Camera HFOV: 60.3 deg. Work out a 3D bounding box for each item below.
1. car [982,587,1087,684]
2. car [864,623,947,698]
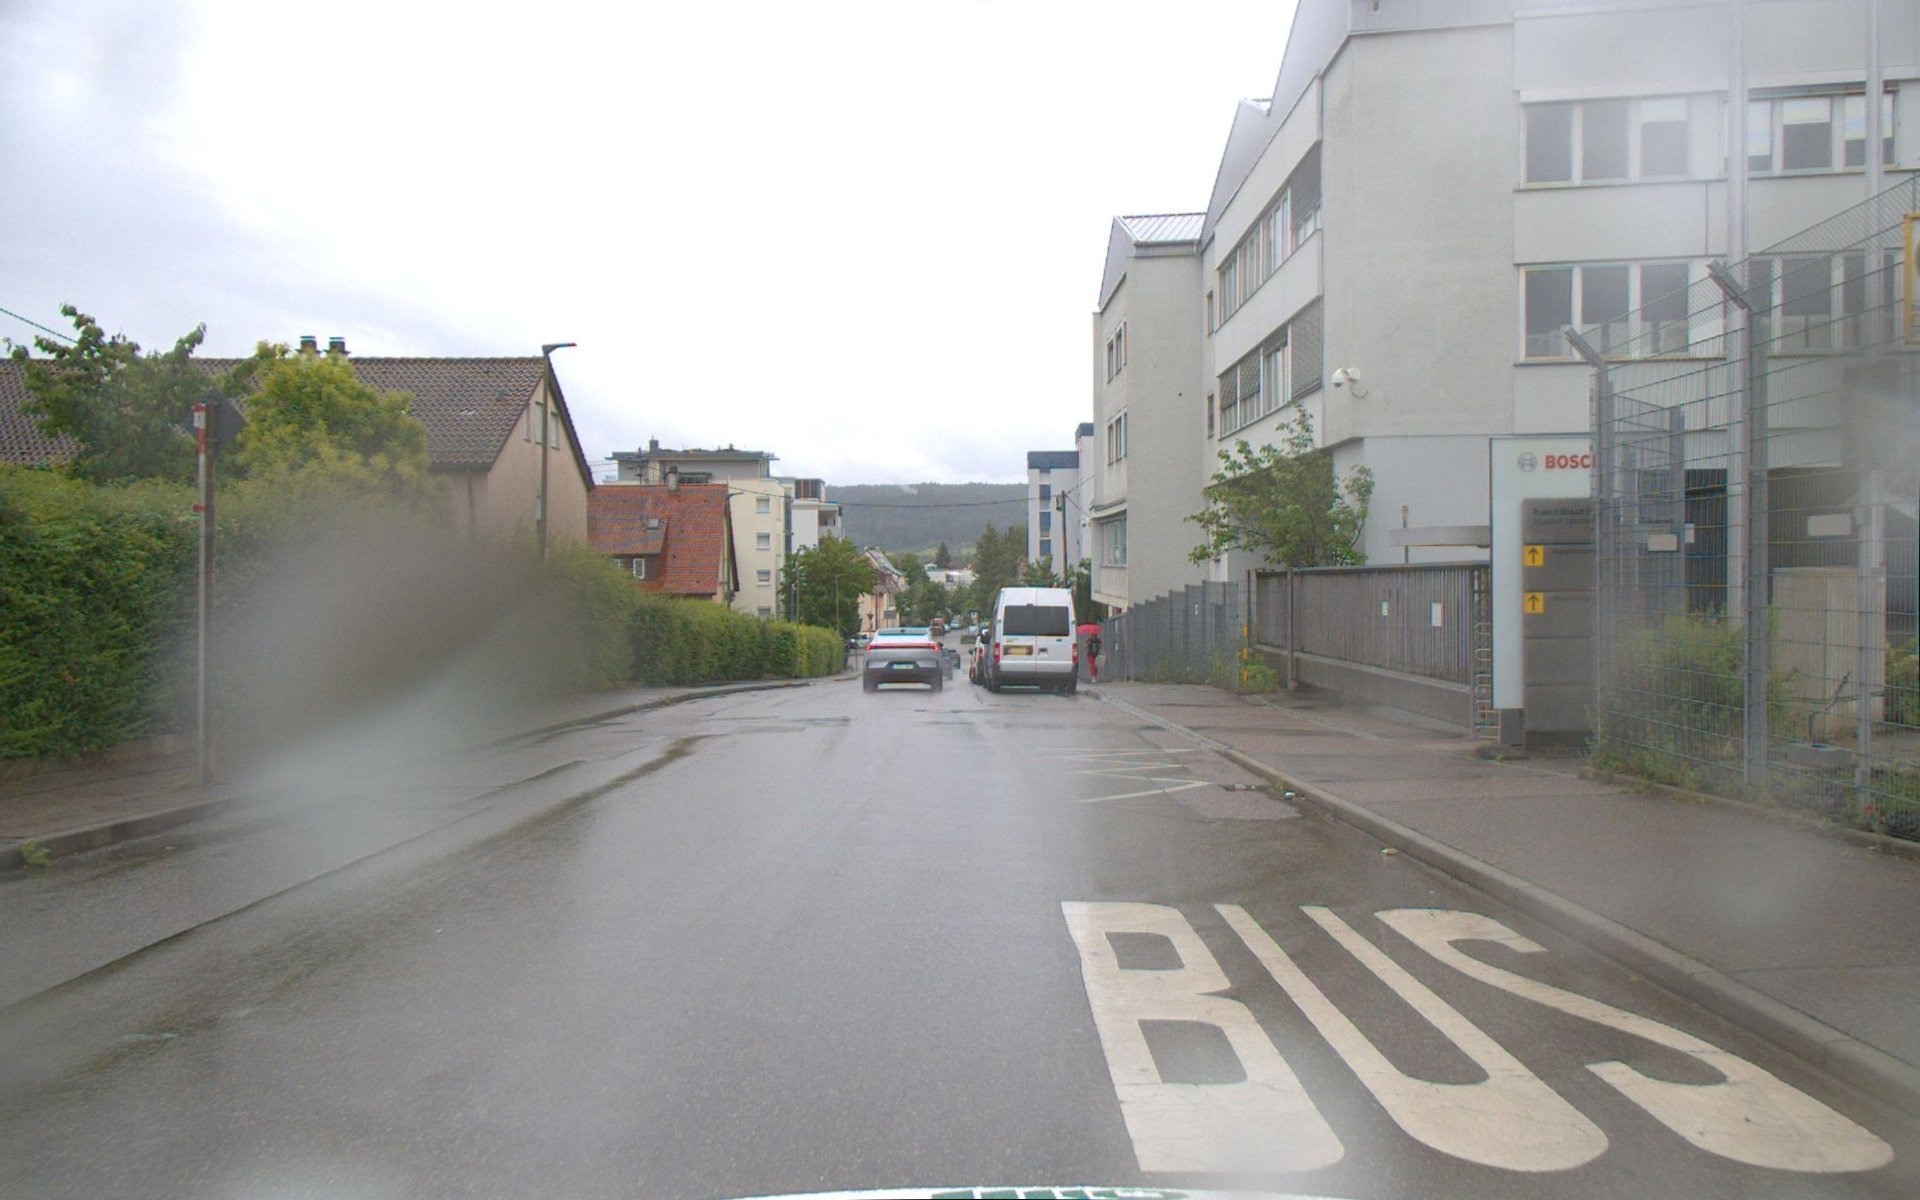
[{"bbox_3d":[1.662,0.824,38.078,1.954,2.049,3.997,-2,-2,-3],"label":"car"},{"bbox_3d":[-1.386,1.461,41.555,1.953,1.528,4.669,0,2,-2],"label":"car"}]
